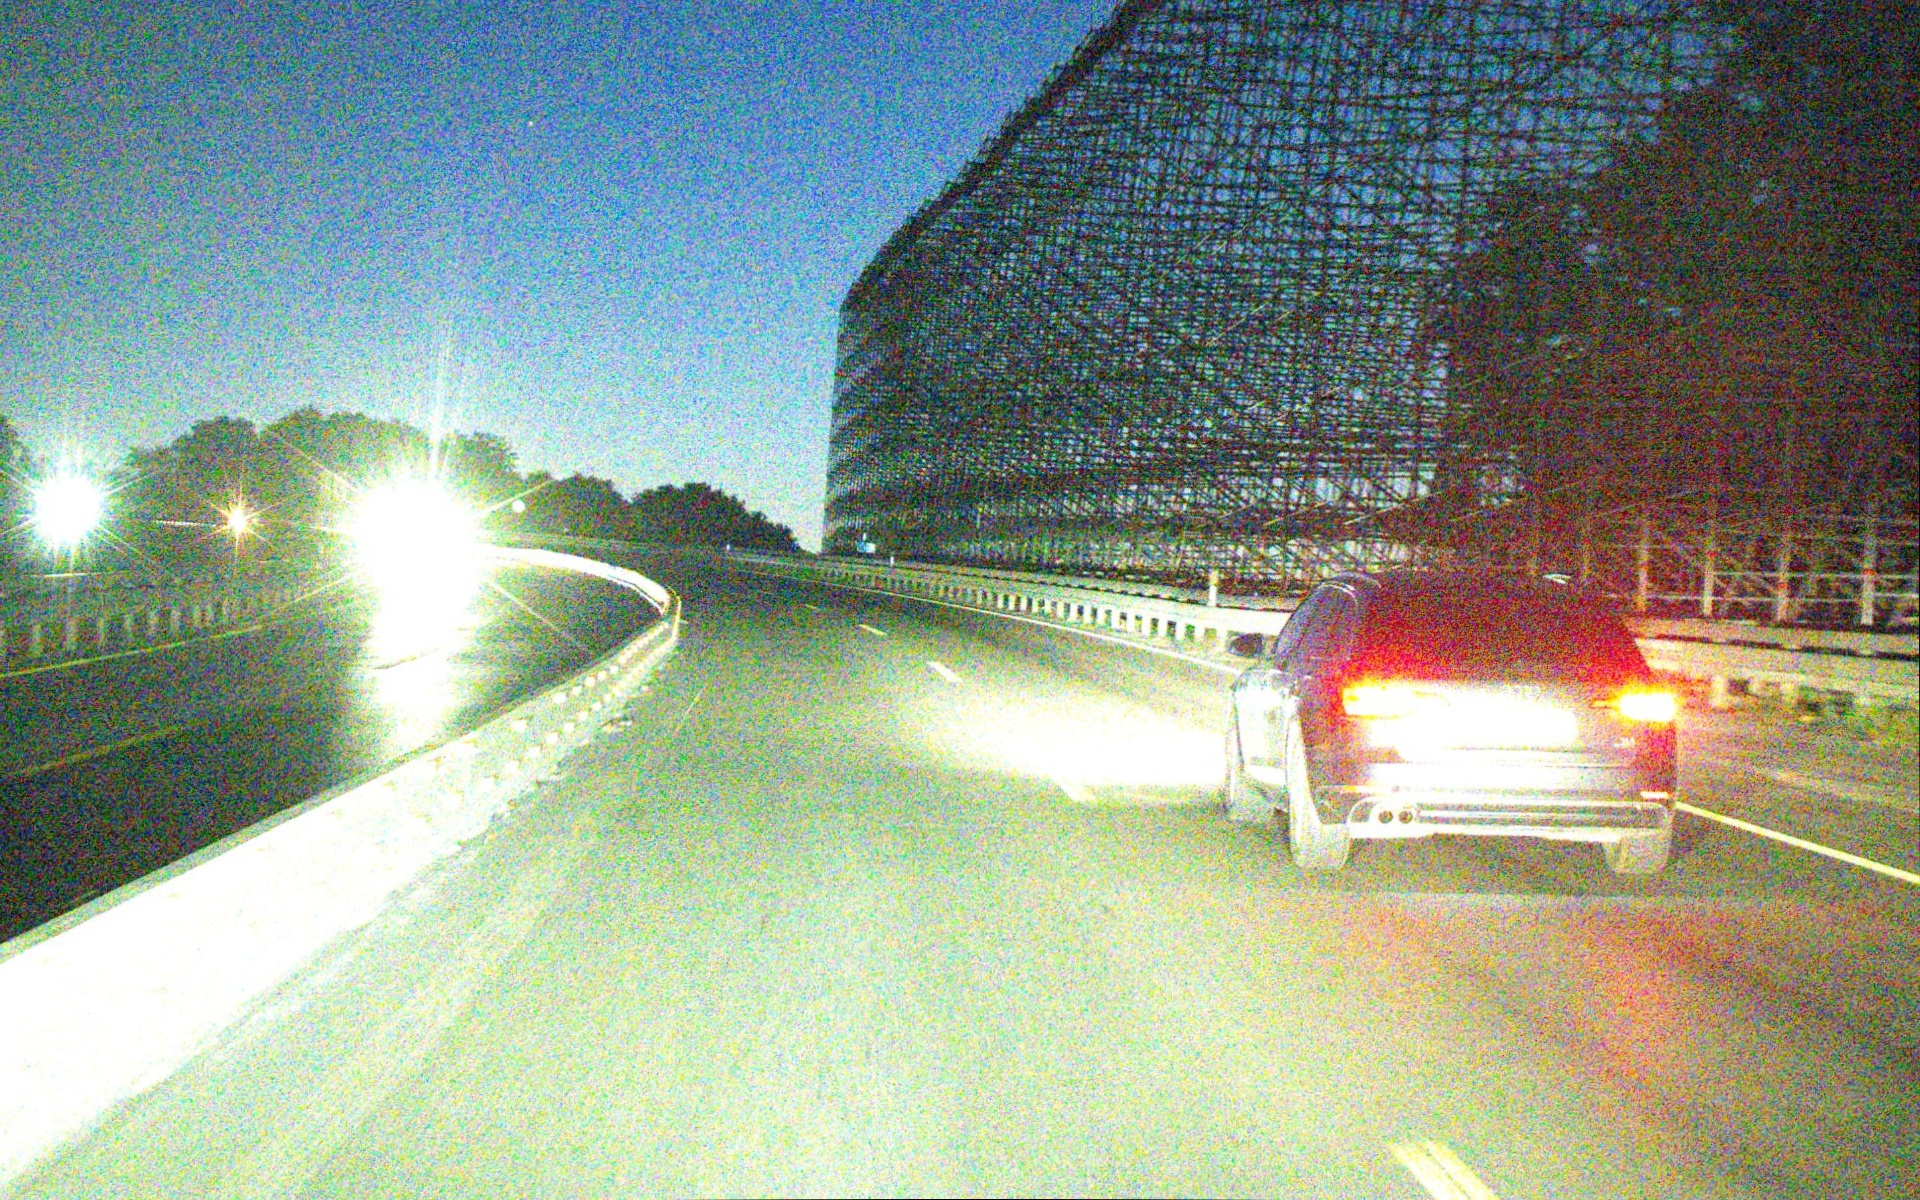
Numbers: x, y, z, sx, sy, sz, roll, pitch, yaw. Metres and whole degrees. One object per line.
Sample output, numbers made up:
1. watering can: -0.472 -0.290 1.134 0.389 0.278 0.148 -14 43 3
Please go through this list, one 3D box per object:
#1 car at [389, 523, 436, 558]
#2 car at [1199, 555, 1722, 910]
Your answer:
1. car: -26.041 -2.826 163.511 2.012 1.634 4.864 1 1 -11
2. car: 2.400 0.562 17.750 1.808 1.421 4.876 1 2 -2
